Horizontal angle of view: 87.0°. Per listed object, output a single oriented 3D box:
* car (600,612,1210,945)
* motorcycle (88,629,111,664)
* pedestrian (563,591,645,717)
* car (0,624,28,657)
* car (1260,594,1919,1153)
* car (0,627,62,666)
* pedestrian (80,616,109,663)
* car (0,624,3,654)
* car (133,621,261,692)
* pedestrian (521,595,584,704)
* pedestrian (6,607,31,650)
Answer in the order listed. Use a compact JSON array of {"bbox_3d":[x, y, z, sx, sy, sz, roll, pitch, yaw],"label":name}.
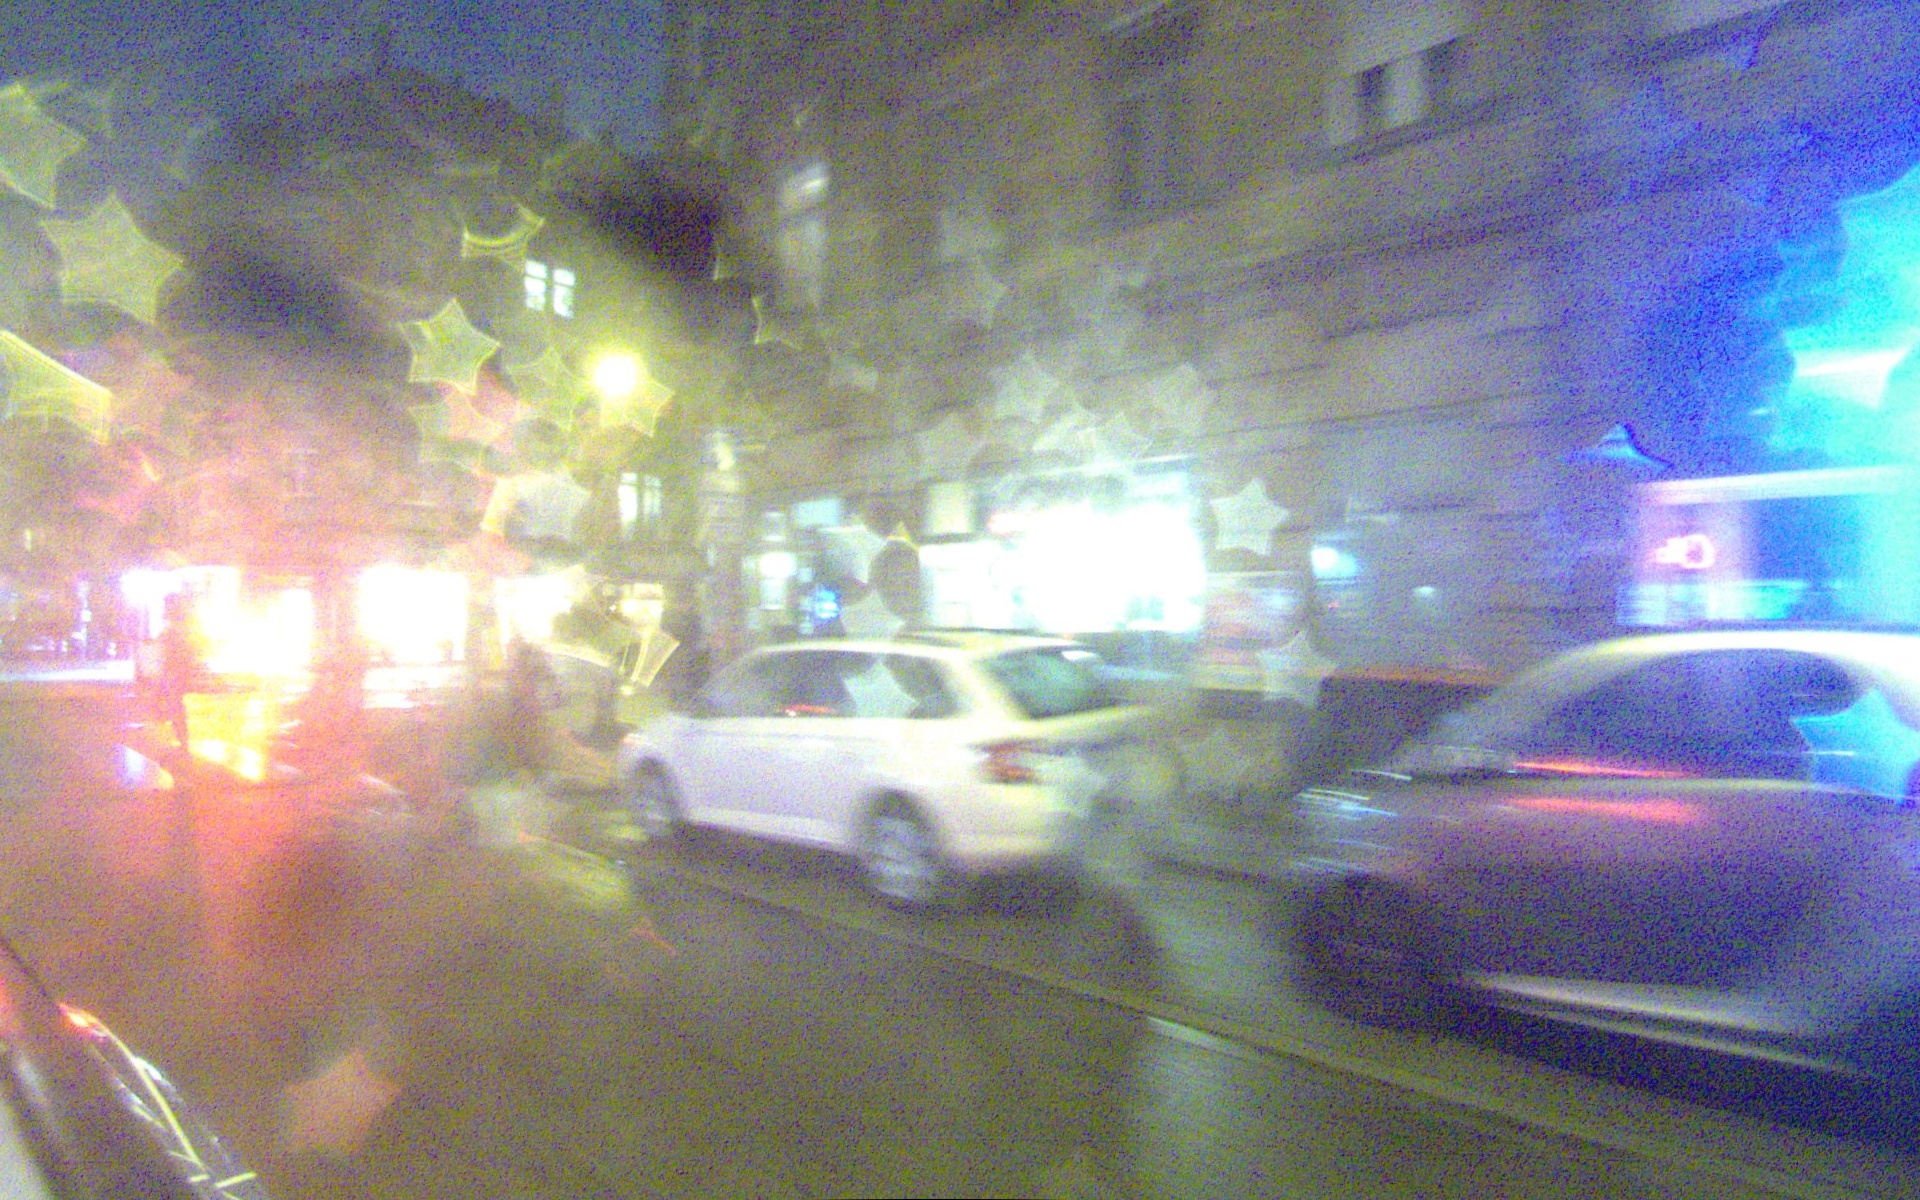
[{"bbox_3d":[-0.587,0.876,6.615,4.023,1.474,1.569,-2,1,42],"label":"car"},{"bbox_3d":[-37.207,2.009,43.759,1.457,1.482,0.531,-1,-1,41],"label":"motorcycle"},{"bbox_3d":[-5.278,0.772,14.973,0.794,1.779,1.017,-1,0,-43],"label":"pedestrian"},{"bbox_3d":[-45.709,1.912,47.918,4.154,1.490,1.699,-1,-2,38],"label":"car"},{"bbox_3d":[2.760,0.763,3.691,2.786,1.521,1.569,-2,-2,42],"label":"car"},{"bbox_3d":[-37.837,1.829,40.824,5.029,1.490,1.827,-1,-2,42],"label":"car"},{"bbox_3d":[-33.139,1.497,38.755,0.815,1.784,0.601,0,-1,-37],"label":"pedestrian"},{"bbox_3d":[-49.839,2.007,51.339,3.786,1.489,1.697,-1,-1,44],"label":"car"},{"bbox_3d":[-17.290,1.219,22.869,4.068,1.438,1.546,-1,-3,42],"label":"car"},{"bbox_3d":[-7.314,0.889,18.153,0.786,1.872,0.948,3,-4,-36],"label":"pedestrian"},{"bbox_3d":[-49.693,1.505,53.402,1.116,2.258,0.791,-2,-3,40],"label":"pedestrian"}]
